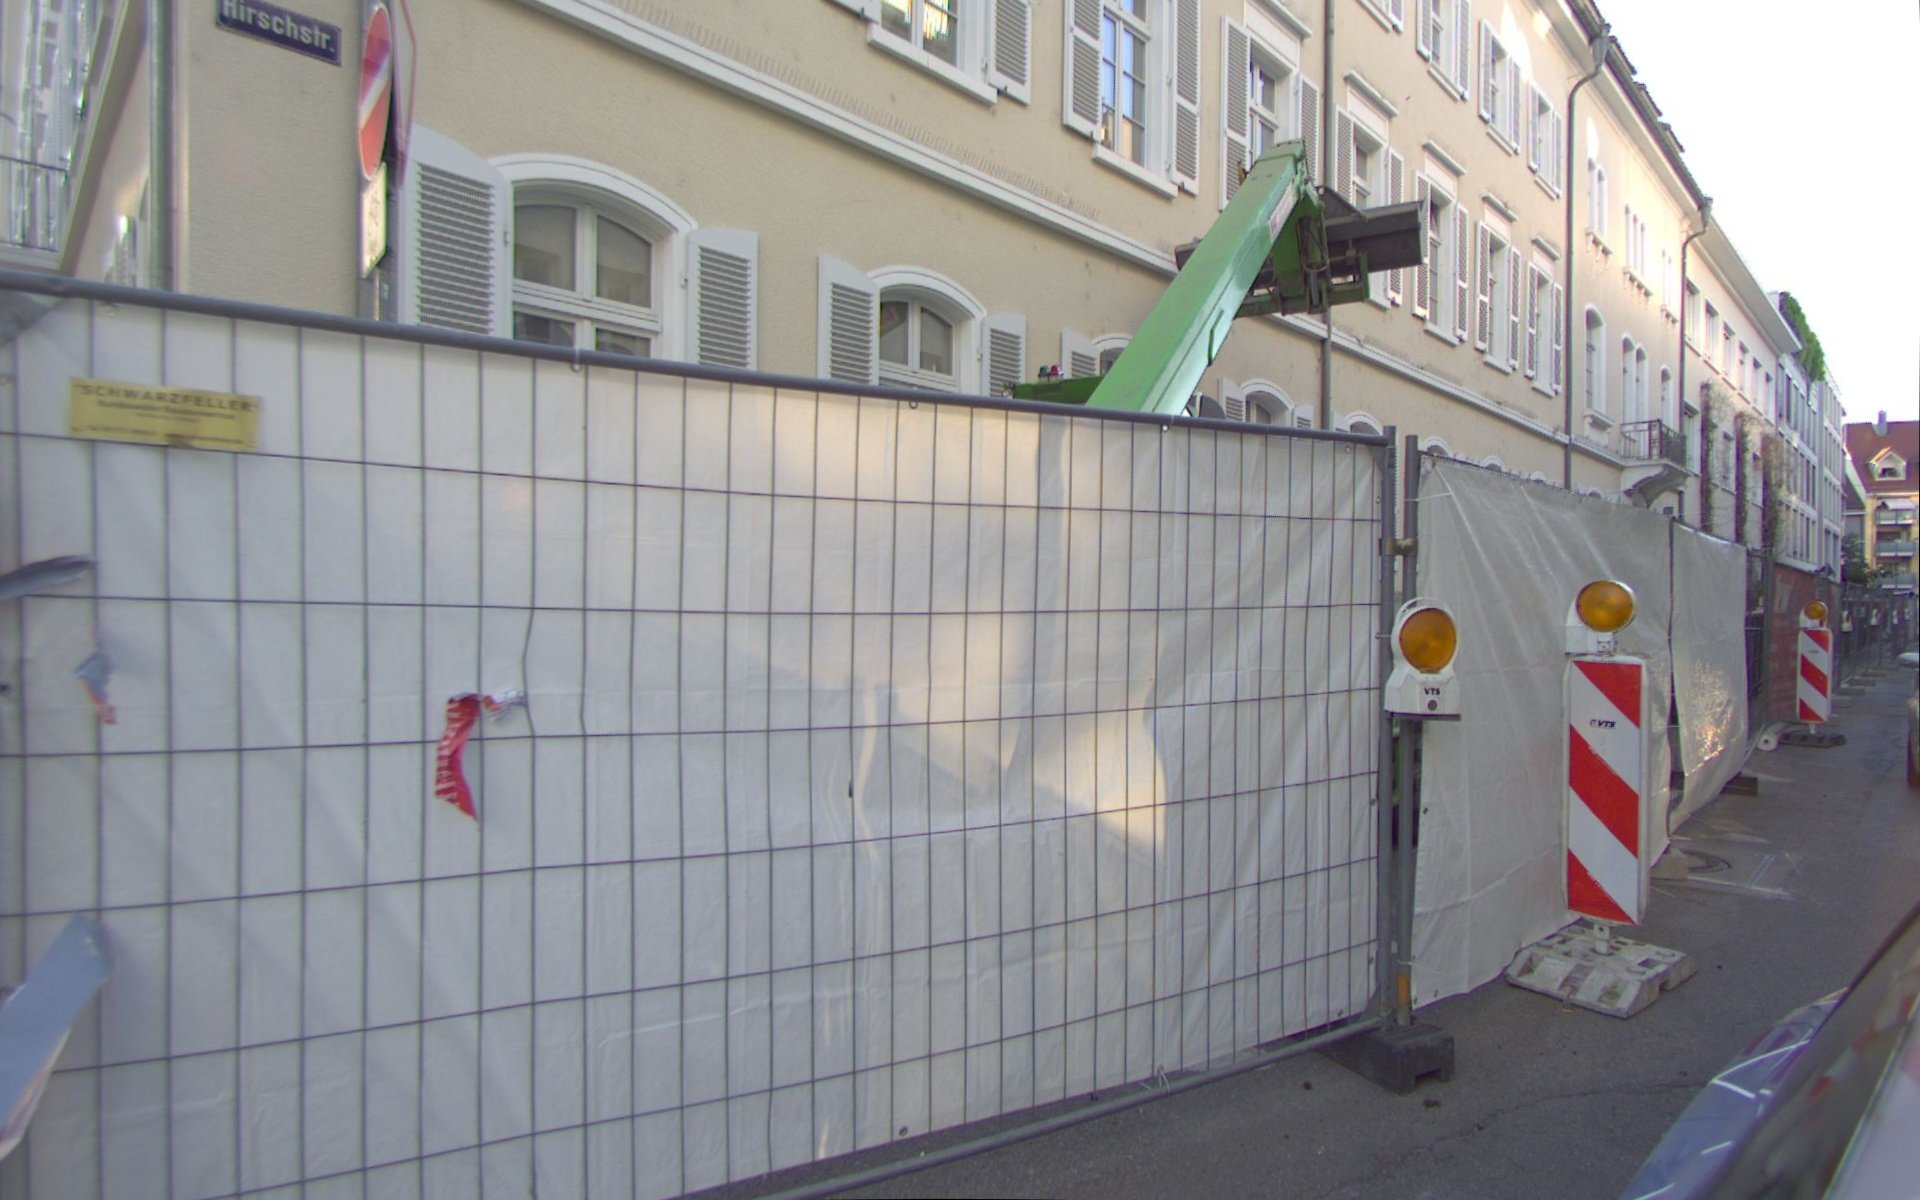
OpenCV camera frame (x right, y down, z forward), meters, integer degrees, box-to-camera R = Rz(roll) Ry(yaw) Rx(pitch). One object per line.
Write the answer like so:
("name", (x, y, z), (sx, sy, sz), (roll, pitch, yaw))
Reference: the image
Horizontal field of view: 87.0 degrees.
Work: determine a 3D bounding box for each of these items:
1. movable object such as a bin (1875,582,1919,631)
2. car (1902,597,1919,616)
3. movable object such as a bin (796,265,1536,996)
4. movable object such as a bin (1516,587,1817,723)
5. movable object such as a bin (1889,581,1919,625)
("movable object such as a bin", (53.269, 0.405, 57.109), (5.655, 2.657, 2.017), (1, -3, -44))
("car", (82.202, 0.587, 85.978), (1.728, 1.420, 4.215), (1, 3, 23))
("movable object such as a bin", (1.527, 0.092, 6.460), (4.376, 2.874, 2.607), (0, 1, -44))
("movable object such as a bin", (11.412, 0.669, 15.988), (2.736, 1.659, 7.431), (0, 0, 44))
("movable object such as a bin", (60.675, 0.177, 64.325), (5.656, 2.657, 2.017), (0, -2, -44))
